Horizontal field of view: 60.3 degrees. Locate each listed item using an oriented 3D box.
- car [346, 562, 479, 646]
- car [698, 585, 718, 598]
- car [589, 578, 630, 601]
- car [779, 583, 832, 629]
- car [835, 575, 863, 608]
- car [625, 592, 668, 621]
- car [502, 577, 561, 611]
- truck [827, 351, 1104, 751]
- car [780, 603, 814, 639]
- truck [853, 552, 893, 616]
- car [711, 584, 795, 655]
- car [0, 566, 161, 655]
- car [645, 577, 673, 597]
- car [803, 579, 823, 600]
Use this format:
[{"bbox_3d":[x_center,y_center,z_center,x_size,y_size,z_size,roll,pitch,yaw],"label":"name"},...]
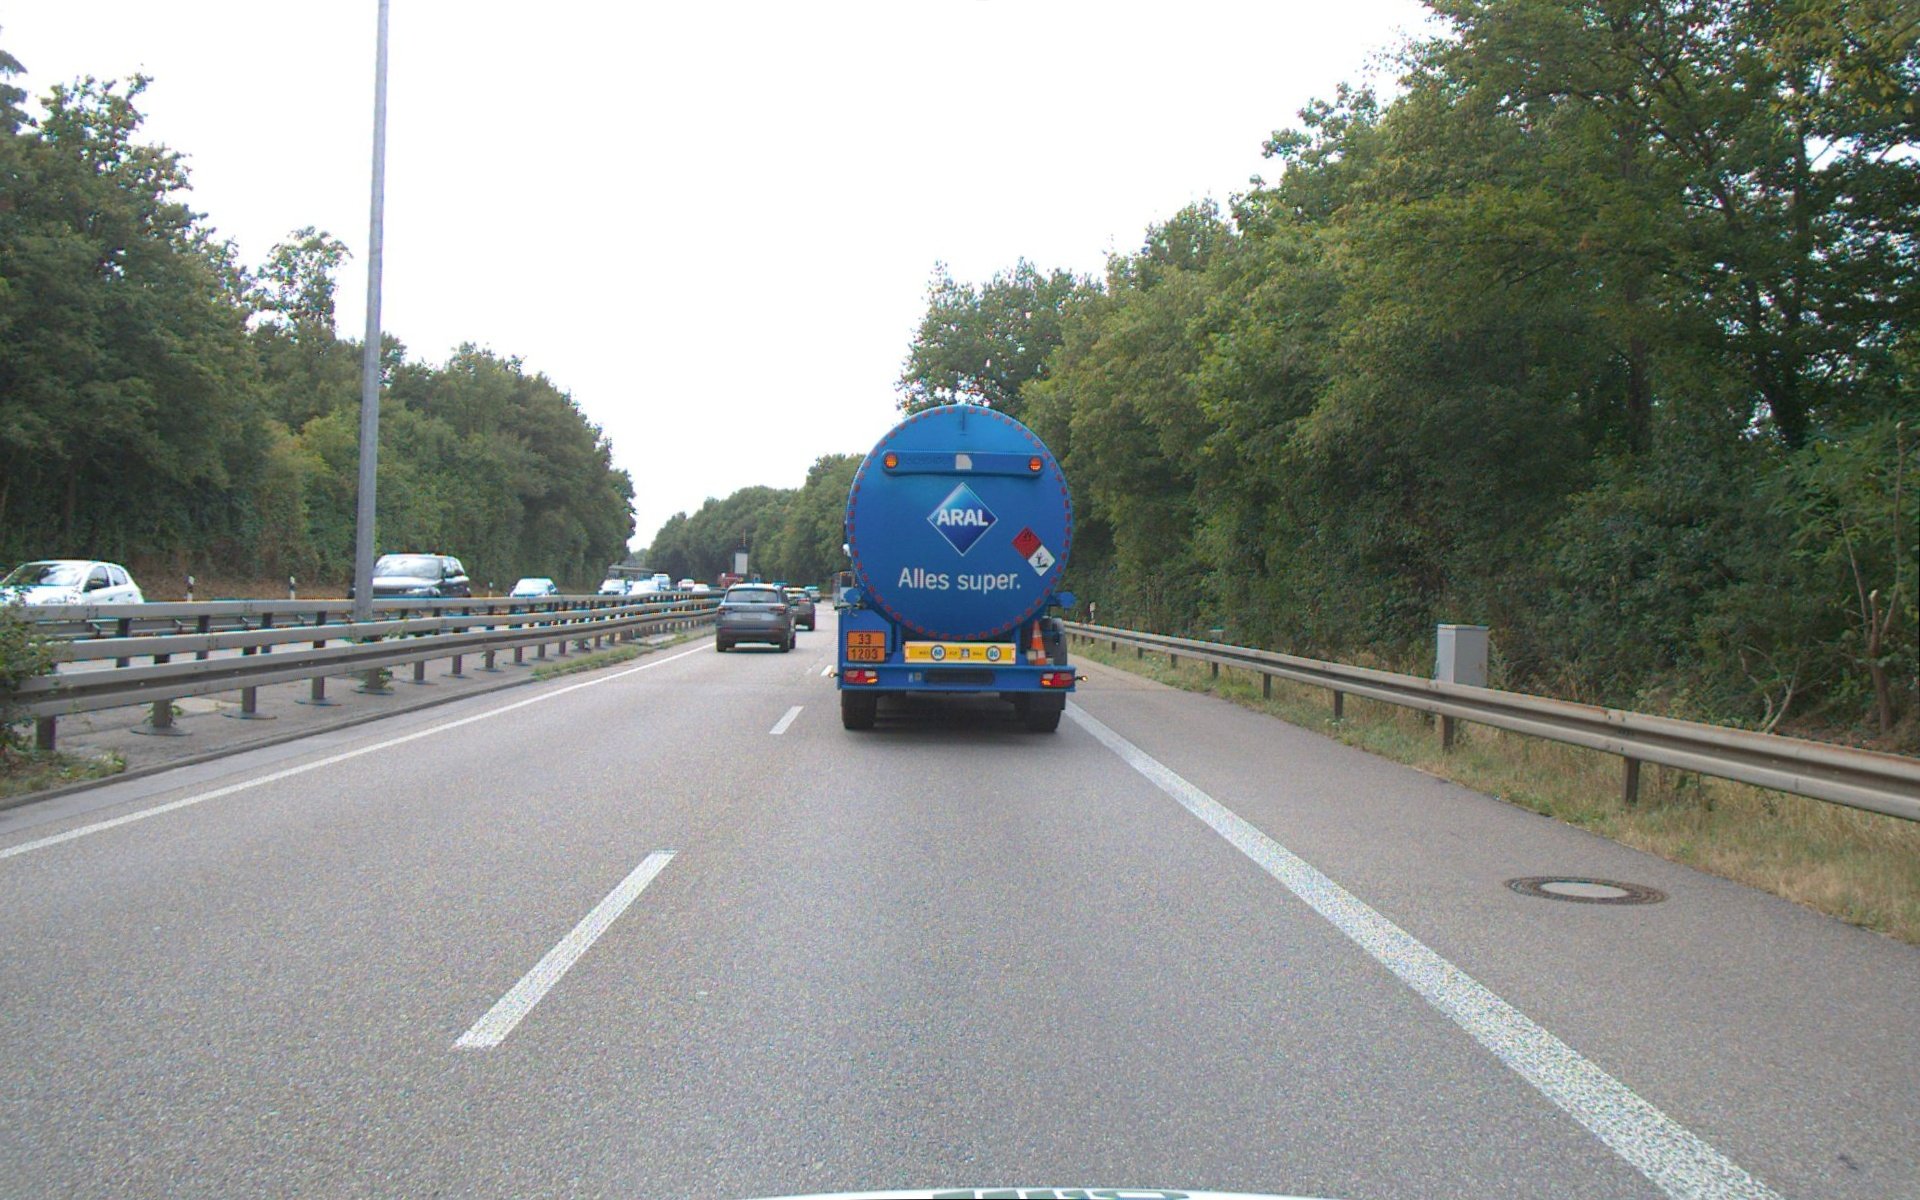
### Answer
[{"bbox_3d":[-12.972,0.104,39.497,1.756,1.868,4.954,1,0,-3],"label":"car"},{"bbox_3d":[-26.103,-0.887,171.711,1.622,1.300,4.709,2,0,-4],"label":"car"},{"bbox_3d":[-21.141,-0.597,99.874,1.939,1.322,4.064,1,0,-5],"label":"car"},{"bbox_3d":[-5.733,0.235,61.785,1.790,1.638,4.164,1,0,-3],"label":"car"},{"bbox_3d":[-7.951,-0.580,118.325,1.954,2.284,3.996,1,0,-5],"label":"car"},{"bbox_3d":[-16.254,0.339,85.981,1.678,1.452,4.054,1,0,-3],"label":"car"},{"bbox_3d":[-19.136,-0.248,74.055,1.776,1.475,4.054,1,0,-3],"label":"car"},{"bbox_3d":[-0.093,-0.490,20.152,2.700,3.914,7.685,1,0,-2],"label":"truck"},{"bbox_3d":[-9.613,1.212,97.678,1.955,2.049,3.996,1,0,-5],"label":"car"},{"bbox_3d":[-4.538,-0.779,86.072,1.954,3.147,7.810,1,0,-3],"label":"truck"},{"bbox_3d":[-5.029,0.473,40.650,1.790,1.638,4.164,1,0,-4],"label":"car"},{"bbox_3d":[-16.388,0.184,30.453,1.596,1.534,3.727,1,0,-2],"label":"car"},{"bbox_3d":[-28.145,-1.188,154.643,1.995,1.835,5.118,1,0,-4],"label":"car"},{"bbox_3d":[-15.741,-1.106,176.661,1.956,2.284,3.992,1,0,-8],"label":"car"}]
